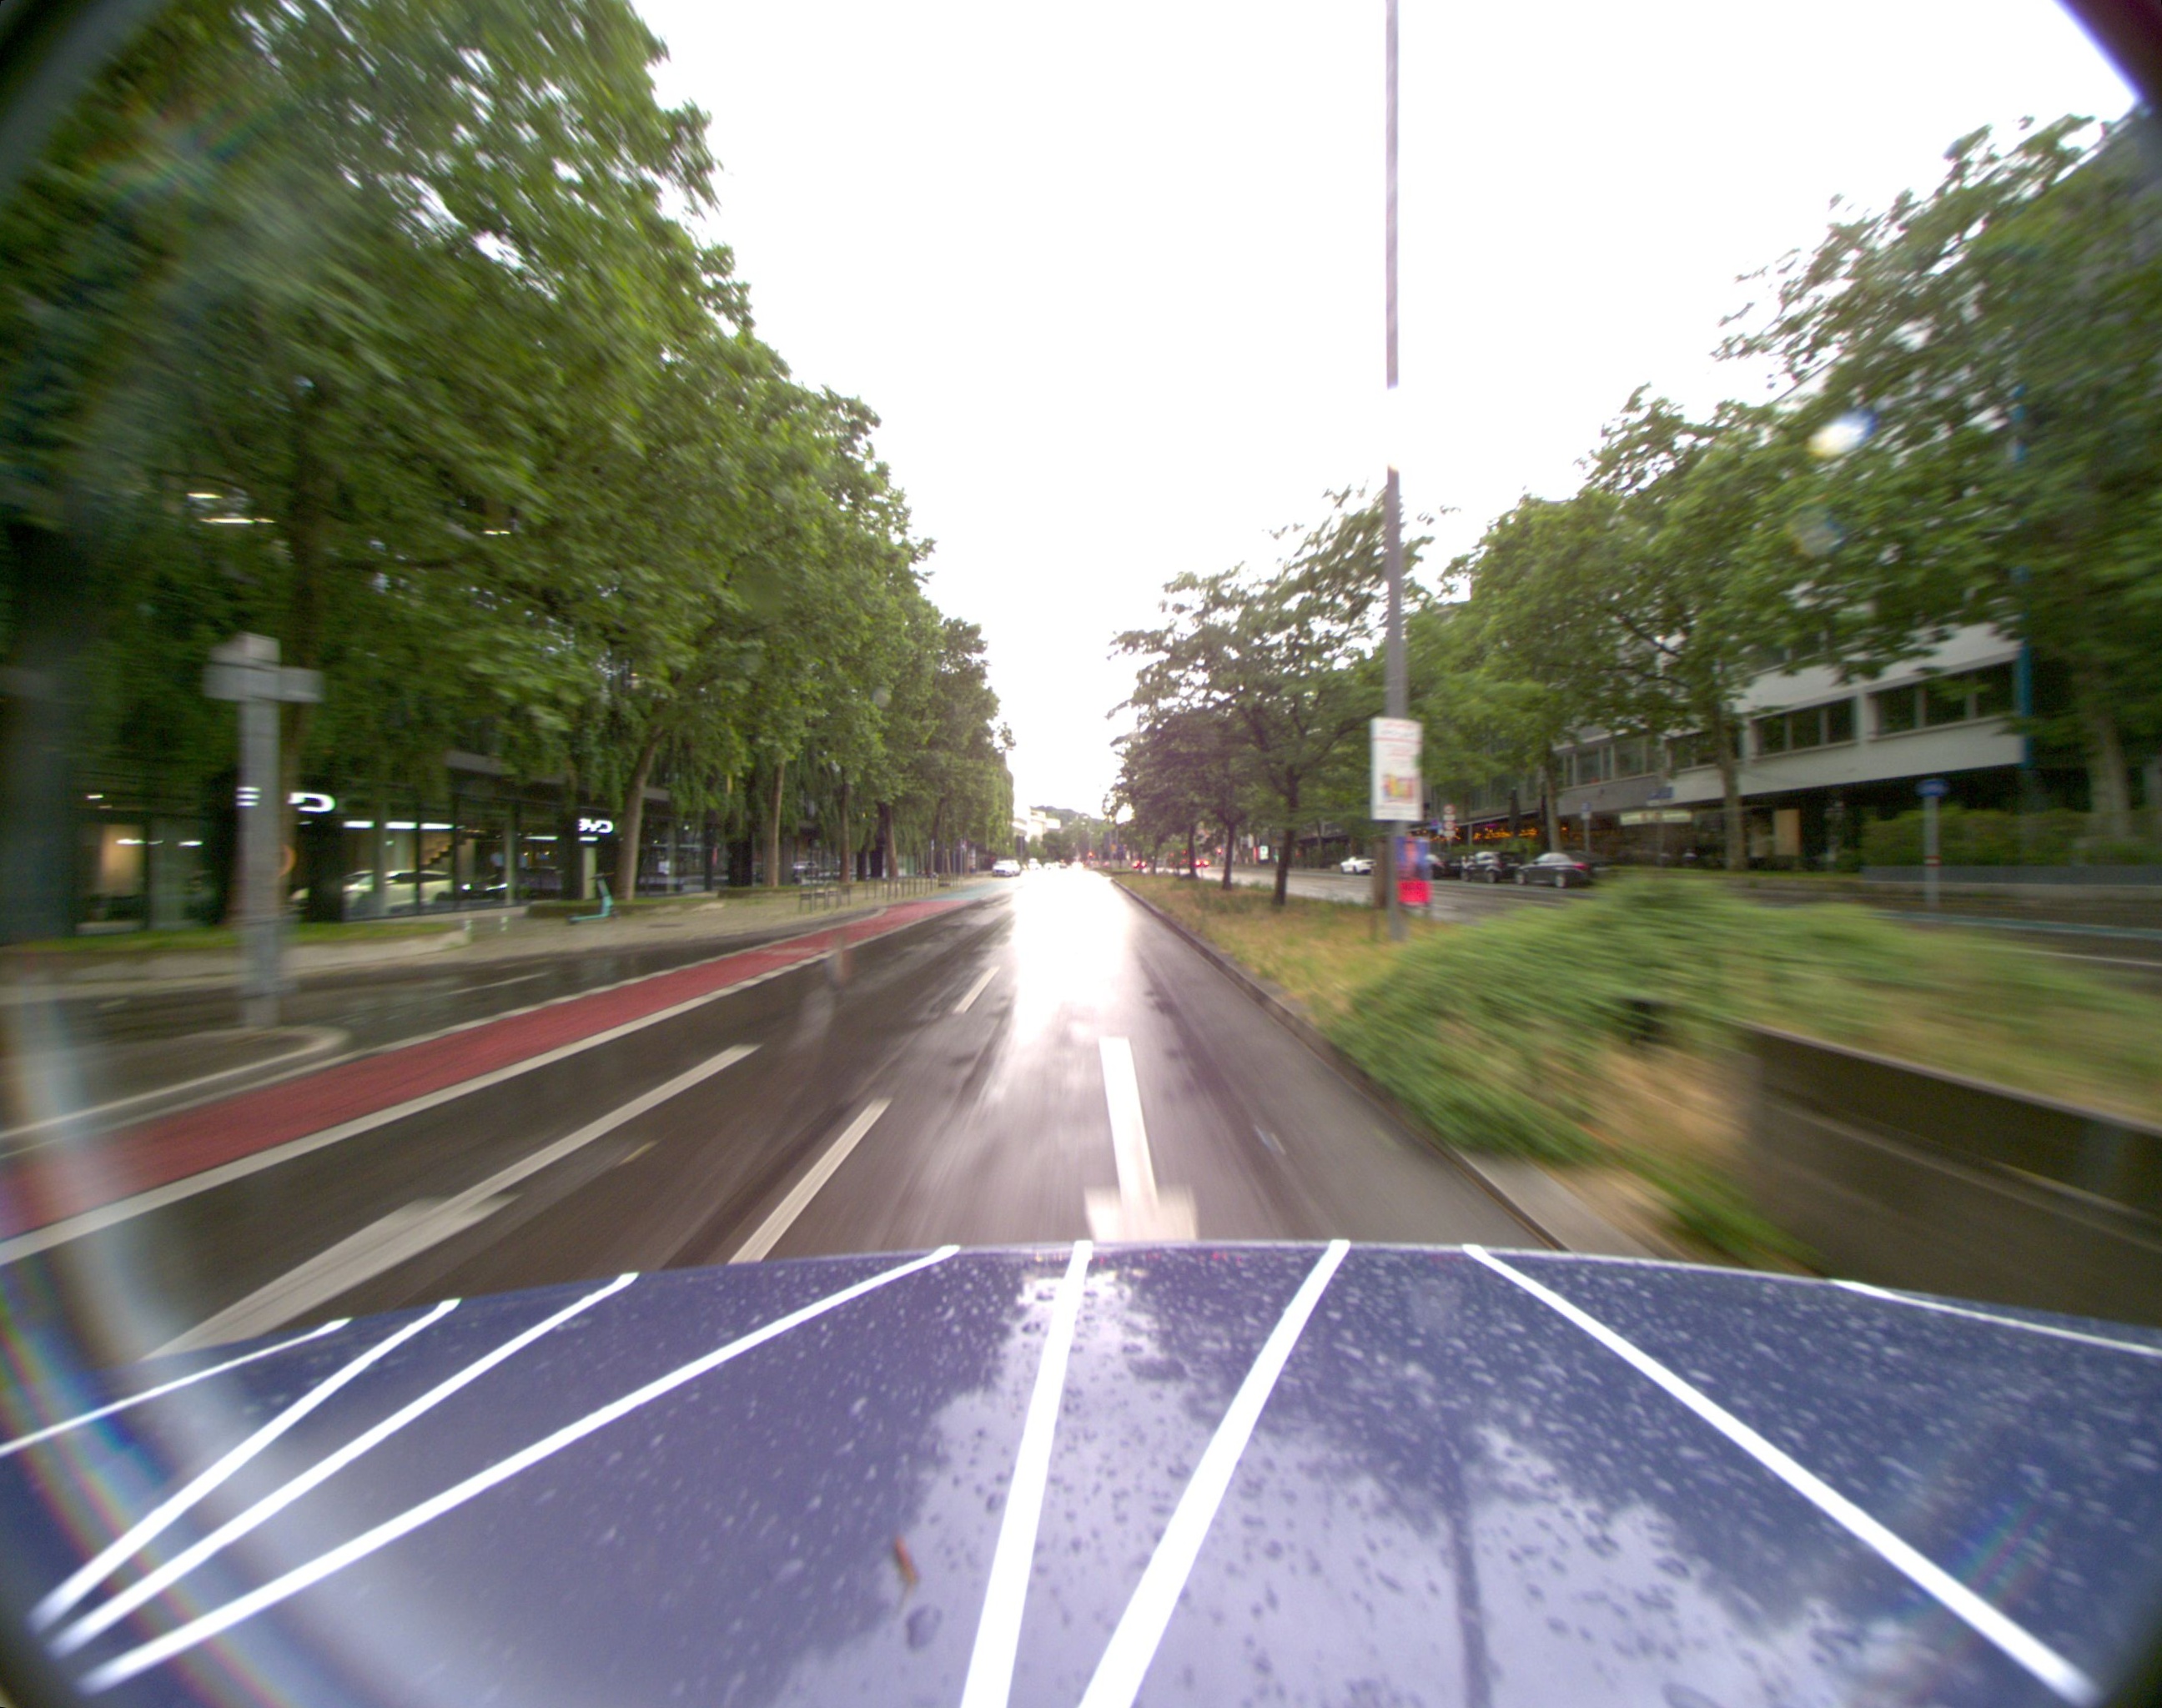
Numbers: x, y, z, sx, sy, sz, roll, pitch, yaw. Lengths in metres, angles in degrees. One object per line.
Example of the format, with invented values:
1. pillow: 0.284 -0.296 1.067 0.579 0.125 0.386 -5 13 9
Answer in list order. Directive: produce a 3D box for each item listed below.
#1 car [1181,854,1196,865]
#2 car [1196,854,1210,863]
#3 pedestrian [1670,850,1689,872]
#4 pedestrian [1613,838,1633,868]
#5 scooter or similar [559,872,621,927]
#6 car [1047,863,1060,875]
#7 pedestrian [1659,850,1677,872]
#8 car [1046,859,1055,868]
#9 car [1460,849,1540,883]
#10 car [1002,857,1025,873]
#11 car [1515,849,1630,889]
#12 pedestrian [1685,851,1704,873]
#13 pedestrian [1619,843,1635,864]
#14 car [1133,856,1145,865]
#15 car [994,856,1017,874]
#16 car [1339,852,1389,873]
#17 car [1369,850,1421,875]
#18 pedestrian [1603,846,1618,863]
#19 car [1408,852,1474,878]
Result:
1. car: 17.527 0.873 123.981 1.781 1.565 3.728 -2 1 -1
2. car: 20.503 0.751 127.786 1.765 1.318 3.737 -2 1 0
3. pedestrian: 27.278 0.319 34.619 0.486 0.995 0.490 -3 1 -16
4. pedestrian: 30.471 -0.080 42.716 0.606 1.638 0.623 -3 1 -4
5. scooter or similar: -12.059 1.098 18.673 1.187 1.275 0.535 -3 1 -40
6. car: -4.049 2.177 111.403 1.780 1.546 3.929 -2 1 0
7. pedestrian: 27.229 0.330 35.230 0.459 0.987 0.463 -3 1 -15
8. car: -5.443 1.743 136.238 1.557 1.534 3.663 -2 1 0
9. car: 19.719 0.533 35.921 1.875 1.414 3.400 -2 1 1
10. car: -7.677 1.204 86.378 2.036 1.553 4.584 -2 1 1
11. car: 19.604 0.531 30.589 1.875 1.377 4.537 -2 1 3
12. pedestrian: 27.502 0.335 34.062 0.458 0.958 0.453 -3 1 -16
13. pedestrian: 27.303 -0.016 38.017 0.464 1.010 0.424 -3 1 -3
14. car: 9.797 1.126 128.638 1.678 1.381 3.527 -3 1 -3
15. car: -7.949 1.170 80.422 1.932 1.726 4.597 -2 1 -1
16. car: 19.933 0.561 53.670 1.881 1.318 4.391 -2 1 1
17. car: 19.822 0.488 48.140 1.750 1.445 3.788 -2 1 1
18. pedestrian: 27.459 0.038 39.387 0.440 0.845 0.433 -3 1 -3
19. car: 19.794 0.556 41.972 1.647 1.232 4.318 -2 1 2
